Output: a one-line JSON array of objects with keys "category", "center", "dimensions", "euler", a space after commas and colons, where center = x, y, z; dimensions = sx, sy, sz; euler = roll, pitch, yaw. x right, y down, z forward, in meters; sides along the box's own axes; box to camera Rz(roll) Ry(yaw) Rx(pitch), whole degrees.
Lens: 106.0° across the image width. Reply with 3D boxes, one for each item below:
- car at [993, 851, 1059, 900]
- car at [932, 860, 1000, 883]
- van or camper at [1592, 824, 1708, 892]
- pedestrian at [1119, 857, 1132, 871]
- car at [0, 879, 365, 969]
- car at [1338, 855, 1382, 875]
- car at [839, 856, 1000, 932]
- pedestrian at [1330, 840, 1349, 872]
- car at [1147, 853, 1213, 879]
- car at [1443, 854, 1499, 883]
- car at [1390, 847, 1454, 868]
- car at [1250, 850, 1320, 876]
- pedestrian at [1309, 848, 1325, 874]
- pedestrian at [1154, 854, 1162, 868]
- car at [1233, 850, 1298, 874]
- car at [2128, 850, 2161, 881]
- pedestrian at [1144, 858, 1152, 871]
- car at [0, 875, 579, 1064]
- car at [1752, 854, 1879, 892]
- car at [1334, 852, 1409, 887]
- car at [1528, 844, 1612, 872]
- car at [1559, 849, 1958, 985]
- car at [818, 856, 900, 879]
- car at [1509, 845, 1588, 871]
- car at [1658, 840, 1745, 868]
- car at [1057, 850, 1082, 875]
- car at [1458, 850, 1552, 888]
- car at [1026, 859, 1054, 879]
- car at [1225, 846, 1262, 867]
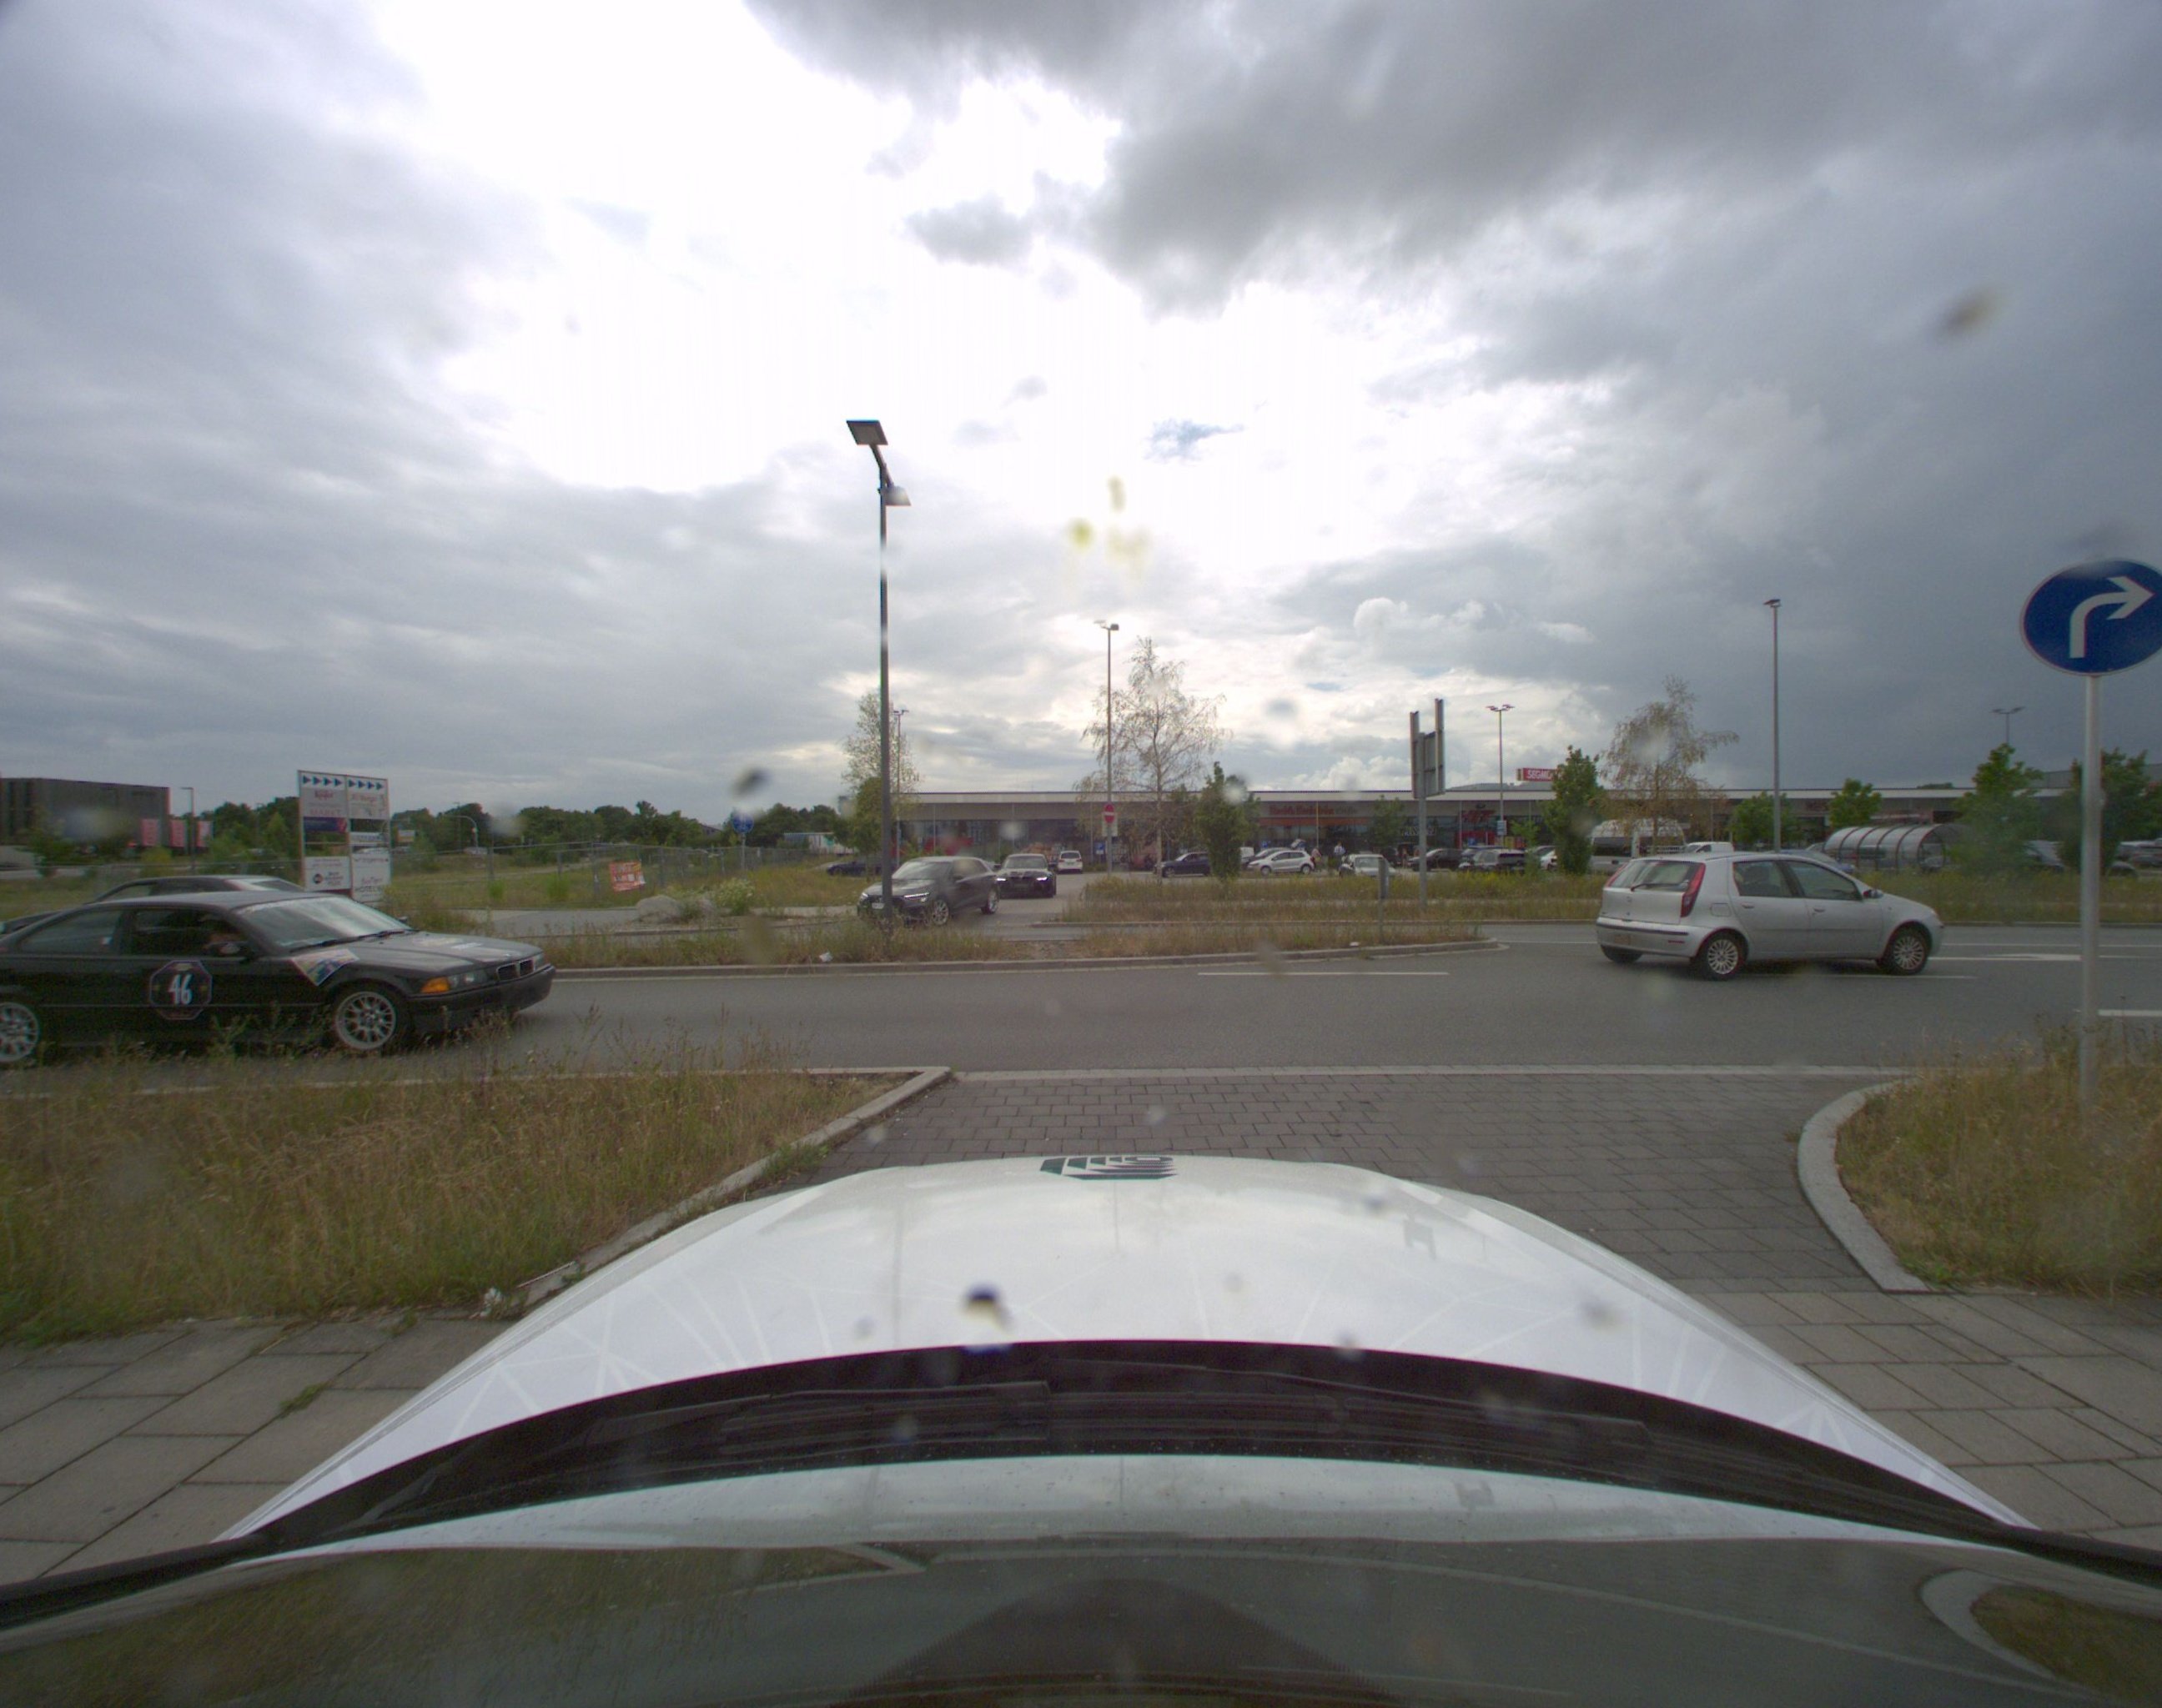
[{"category": "car", "center": [-1.745, 0.660, 27.043], "dimensions": [1.773, 1.445, 4.611], "euler": [-1, 0, 1]}, {"category": "car", "center": [-6.960, 1.072, 49.646], "dimensions": [3.981, 1.352, 1.996], "euler": [0, 0, -5]}, {"category": "van or camper", "center": [21.988, 0.157, 31.709], "dimensions": [2.268, 2.492, 4.012], "euler": [0, 0, 11]}, {"category": "pedestrian", "center": [3.847, 0.867, 70.476], "dimensions": [0.969, 1.154, 1.131], "euler": [-1, 0, -4]}, {"category": "car", "center": [-15.622, 1.173, 14.308], "dimensions": [4.347, 1.395, 1.789], "euler": [-1, -1, -3]}, {"category": "car", "center": [21.383, 0.817, 62.510], "dimensions": [1.987, 1.508, 3.999], "euler": [0, 0, 0]}, {"category": "car", "center": [-3.471, 0.795, 18.398], "dimensions": [1.778, 1.466, 4.339], "euler": [0, 0, 15]}, {"category": "pedestrian", "center": [16.414, 0.129, 51.707], "dimensions": [0.861, 2.013, 1.004], "euler": [0, 0, 2]}, {"category": "car", "center": [5.805, 0.690, 48.028], "dimensions": [3.599, 1.454, 1.666], "euler": [-1, 0, -4]}, {"category": "car", "center": [23.176, 0.834, 48.565], "dimensions": [1.805, 1.653, 4.007], "euler": [-1, 0, 6]}, {"category": "car", "center": [25.381, 0.247, 60.654], "dimensions": [3.976, 1.508, 1.999], "euler": [0, 0, -2]}, {"category": "car", "center": [12.137, 0.531, 48.620], "dimensions": [3.738, 1.454, 1.666], "euler": [0, 0, -3]}, {"category": "pedestrian", "center": [14.911, 0.424, 51.428], "dimensions": [0.818, 1.632, 0.900], "euler": [0, -1, 2]}, {"category": "pedestrian", "center": [6.577, 0.580, 69.291], "dimensions": [0.575, 1.124, 0.560], "euler": [-1, 0, -6]}, {"category": "car", "center": [11.671, 0.482, 51.596], "dimensions": [3.738, 1.454, 1.666], "euler": [0, 0, -3]}, {"category": "car", "center": [59.758, 0.599, 44.404], "dimensions": [3.826, 1.653, 1.756], "euler": [-1, 0, -12]}, {"category": "pedestrian", "center": [5.792, 0.919, 70.206], "dimensions": [0.575, 1.124, 0.560], "euler": [-1, 0, -6]}, {"category": "car", "center": [-7.256, 0.940, 7.351], "dimensions": [4.277, 1.386, 1.757], "euler": [-1, 0, -3]}, {"category": "car", "center": [28.699, 0.703, 32.012], "dimensions": [1.793, 1.384, 4.162], "euler": [0, 0, 10]}, {"category": "car", "center": [12.019, 0.620, 33.965], "dimensions": [1.979, 1.384, 4.156], "euler": [0, 0, 5]}, {"category": "car", "center": [30.136, 0.224, 50.250], "dimensions": [3.967, 1.618, 2.003], "euler": [-1, 0, 6]}, {"category": "car", "center": [8.362, 0.692, 10.223], "dimensions": [3.802, 1.461, 1.795], "euler": [-1, 0, -9]}, {"category": "car", "center": [-14.866, 0.892, 54.745], "dimensions": [5.003, 1.558, 1.995], "euler": [0, 0, -7]}, {"category": "car", "center": [30.314, 0.269, 52.884], "dimensions": [3.967, 1.618, 2.003], "euler": [-1, 0, 6]}, {"category": "car", "center": [41.068, -0.028, 53.946], "dimensions": [4.407, 1.819, 1.996], "euler": [0, 0, -5]}, {"category": "car", "center": [-0.824, 0.601, 60.964], "dimensions": [1.818, 1.700, 4.234], "euler": [-1, 1, 0]}, {"category": "car", "center": [17.191, 0.571, 33.244], "dimensions": [1.979, 1.451, 4.156], "euler": [0, 0, 5]}, {"category": "car", "center": [-3.023, 1.090, 60.880], "dimensions": [1.900, 1.444, 4.000], "euler": [-1, 0, 0]}, {"category": "car", "center": [12.329, 0.184, 61.916], "dimensions": [1.987, 1.508, 3.999], "euler": [-1, 0, 0]}]
